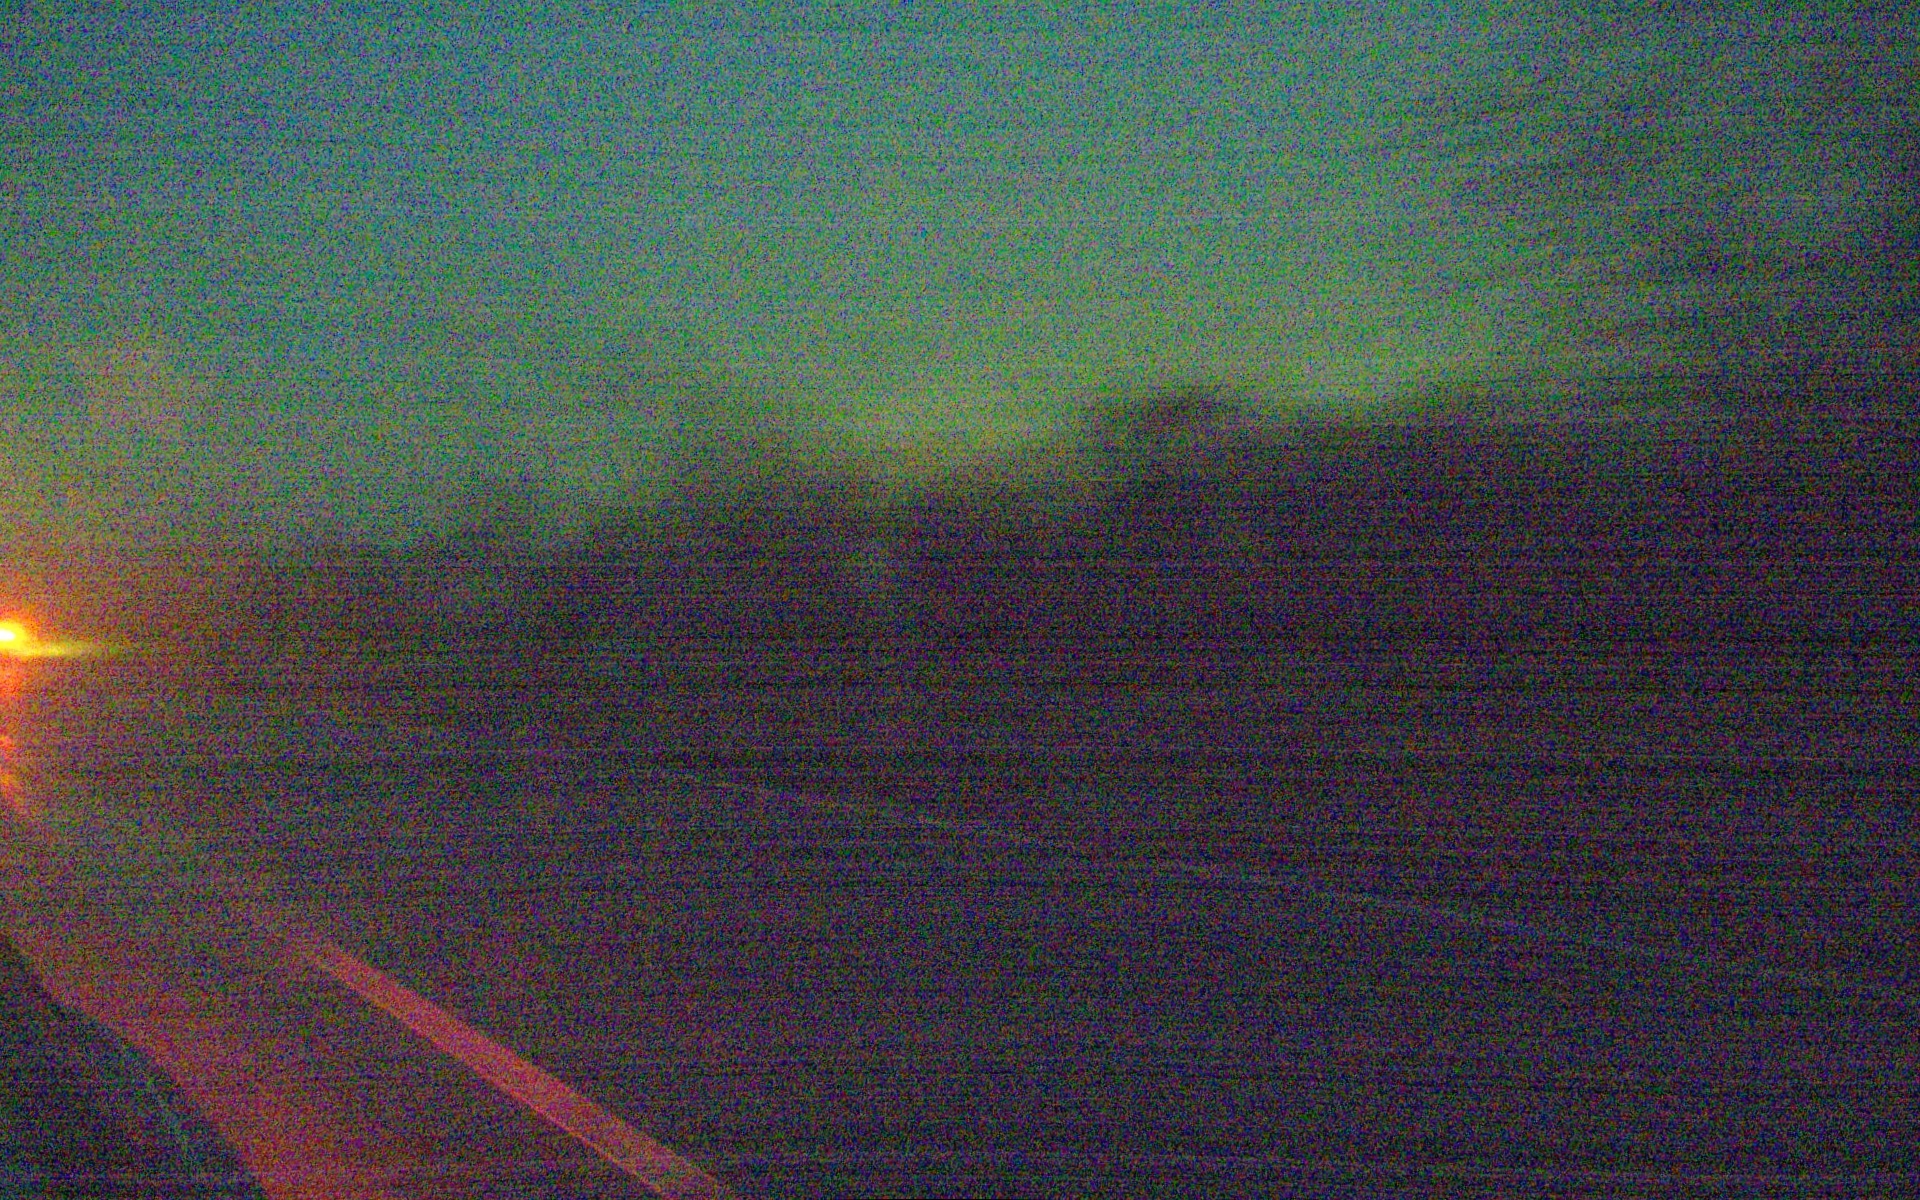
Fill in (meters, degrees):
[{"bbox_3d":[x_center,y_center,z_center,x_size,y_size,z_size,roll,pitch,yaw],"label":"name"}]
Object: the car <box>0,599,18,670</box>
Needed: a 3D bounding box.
[{"bbox_3d":[-29.412,1.012,29.762,4.272,2.029,1.973,-1,-2,40],"label":"car"}]
